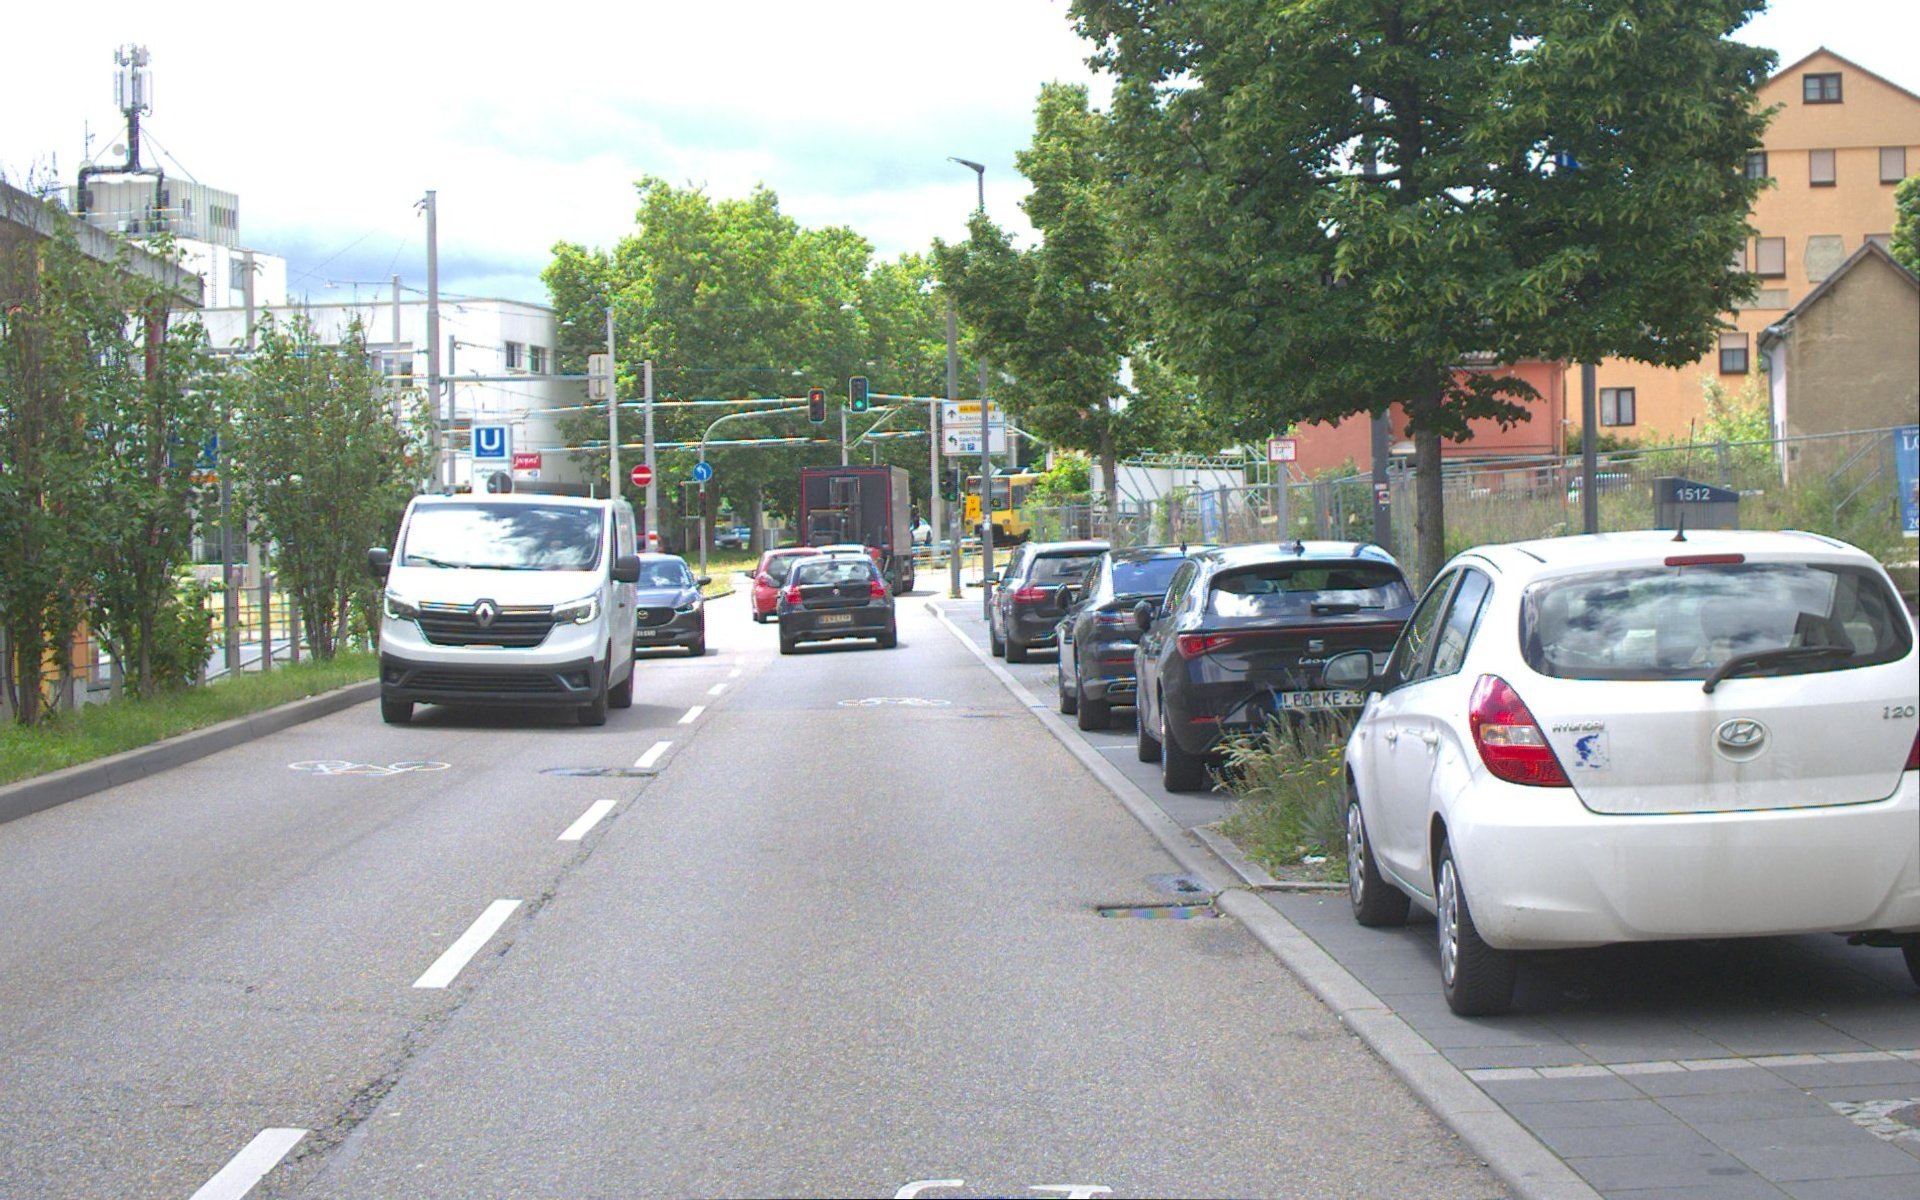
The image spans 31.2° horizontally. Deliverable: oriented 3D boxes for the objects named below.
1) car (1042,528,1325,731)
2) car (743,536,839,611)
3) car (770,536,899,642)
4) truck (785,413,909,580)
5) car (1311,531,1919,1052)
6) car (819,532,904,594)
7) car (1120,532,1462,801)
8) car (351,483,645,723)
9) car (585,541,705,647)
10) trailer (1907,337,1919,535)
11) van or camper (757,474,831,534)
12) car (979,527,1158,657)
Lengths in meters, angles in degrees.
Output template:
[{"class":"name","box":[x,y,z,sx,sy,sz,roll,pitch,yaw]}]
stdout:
[{"class":"car","box":[1.729,0.183,28.039,1.865,1.446,4.644,-2,1,-1]},{"class":"car","box":[-3.401,-0.557,68.848,1.711,1.388,3.809,-2,2,-5]},{"class":"car","box":[-1.902,-0.193,51.200,1.726,1.451,3.809,-2,2,-4]},{"class":"truck","box":[-3.193,-2.891,99.777,3.203,4.520,9.028,0,0,0]},{"class":"car","box":[2.287,0.532,12.081,1.692,1.478,3.798,-2,1,1]},{"class":"car","box":[-2.493,-0.913,86.117,1.888,1.460,4.070,-2,0,-4]},{"class":"car","box":[1.969,0.339,21.514,1.692,1.456,4.147,-2,1,0]},{"class":"car","box":[-3.936,-0.013,30.069,2.004,1.910,5.065,0,1,-1]},{"class":"car","box":[-4.787,-0.118,52.319,1.724,1.516,4.255,1,1,-5]},{"class":"trailer","box":[16.353,-2.613,53.973,2.405,3.111,6.158,-2,1,12]},{"class":"van or camper","box":[-8.318,-4.800,172.890,2.176,2.796,6.066,0,-1,13]},{"class":"car","box":[1.288,-0.133,42.542,1.782,1.447,4.477,-3,1,-3]}]
